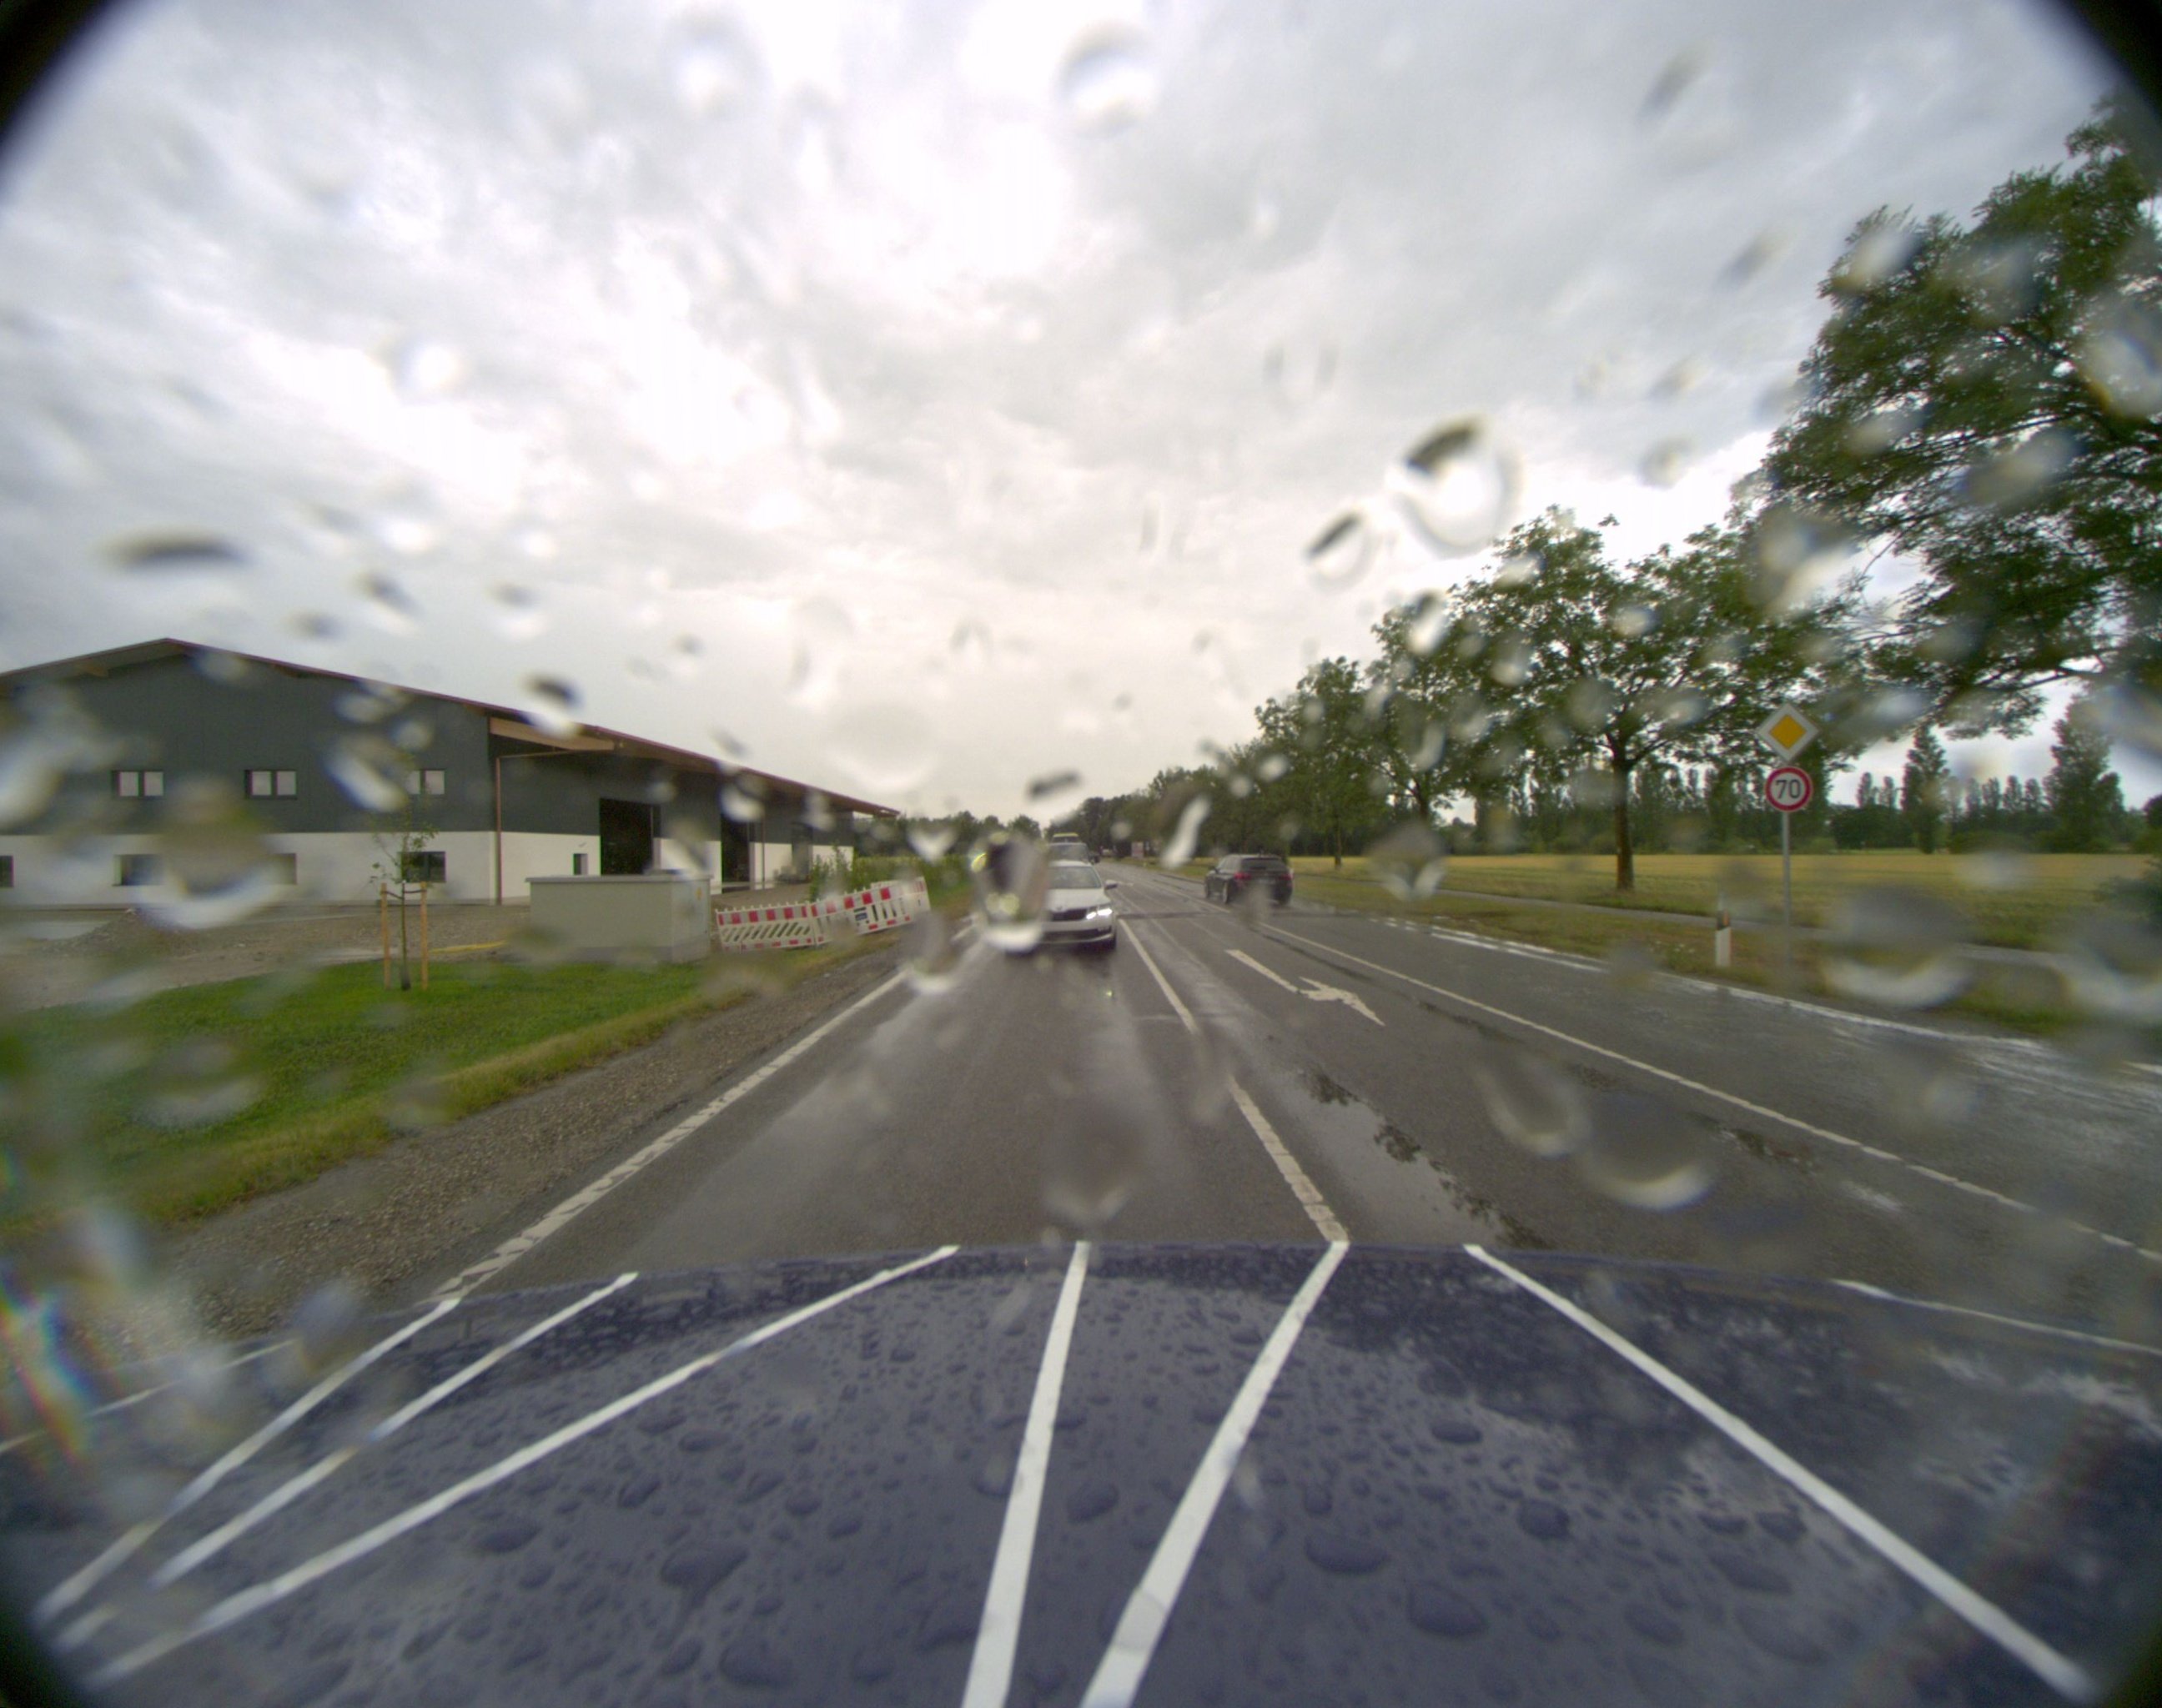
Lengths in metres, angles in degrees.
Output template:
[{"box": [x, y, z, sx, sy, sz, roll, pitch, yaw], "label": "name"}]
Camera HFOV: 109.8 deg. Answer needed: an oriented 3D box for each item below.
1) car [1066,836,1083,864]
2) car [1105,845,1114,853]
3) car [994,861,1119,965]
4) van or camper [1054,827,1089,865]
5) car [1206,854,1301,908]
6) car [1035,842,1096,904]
[{"box": [-0.783, -0.489, 88.532, 1.771, 3.134, 4.027, -1, 1, -1], "label": "car"}, {"box": [7.457, -1.372, 198.942, 1.998, 2.002, 4.000, -1, 1, 1], "label": "car"}, {"box": [-0.375, 0.878, 13.344, 1.770, 1.365, 4.575, -2, 1, -1], "label": "car"}, {"box": [-0.938, -0.825, 76.744, 3.342, 3.624, 8.371, -1, 1, -1], "label": "van or camper"}, {"box": [5.058, 0.748, 22.874, 1.770, 1.429, 4.412, 0, 0, -1], "label": "car"}, {"box": [-0.491, 0.559, 25.511, 1.841, 1.888, 4.575, -1, 1, -1], "label": "car"}]
